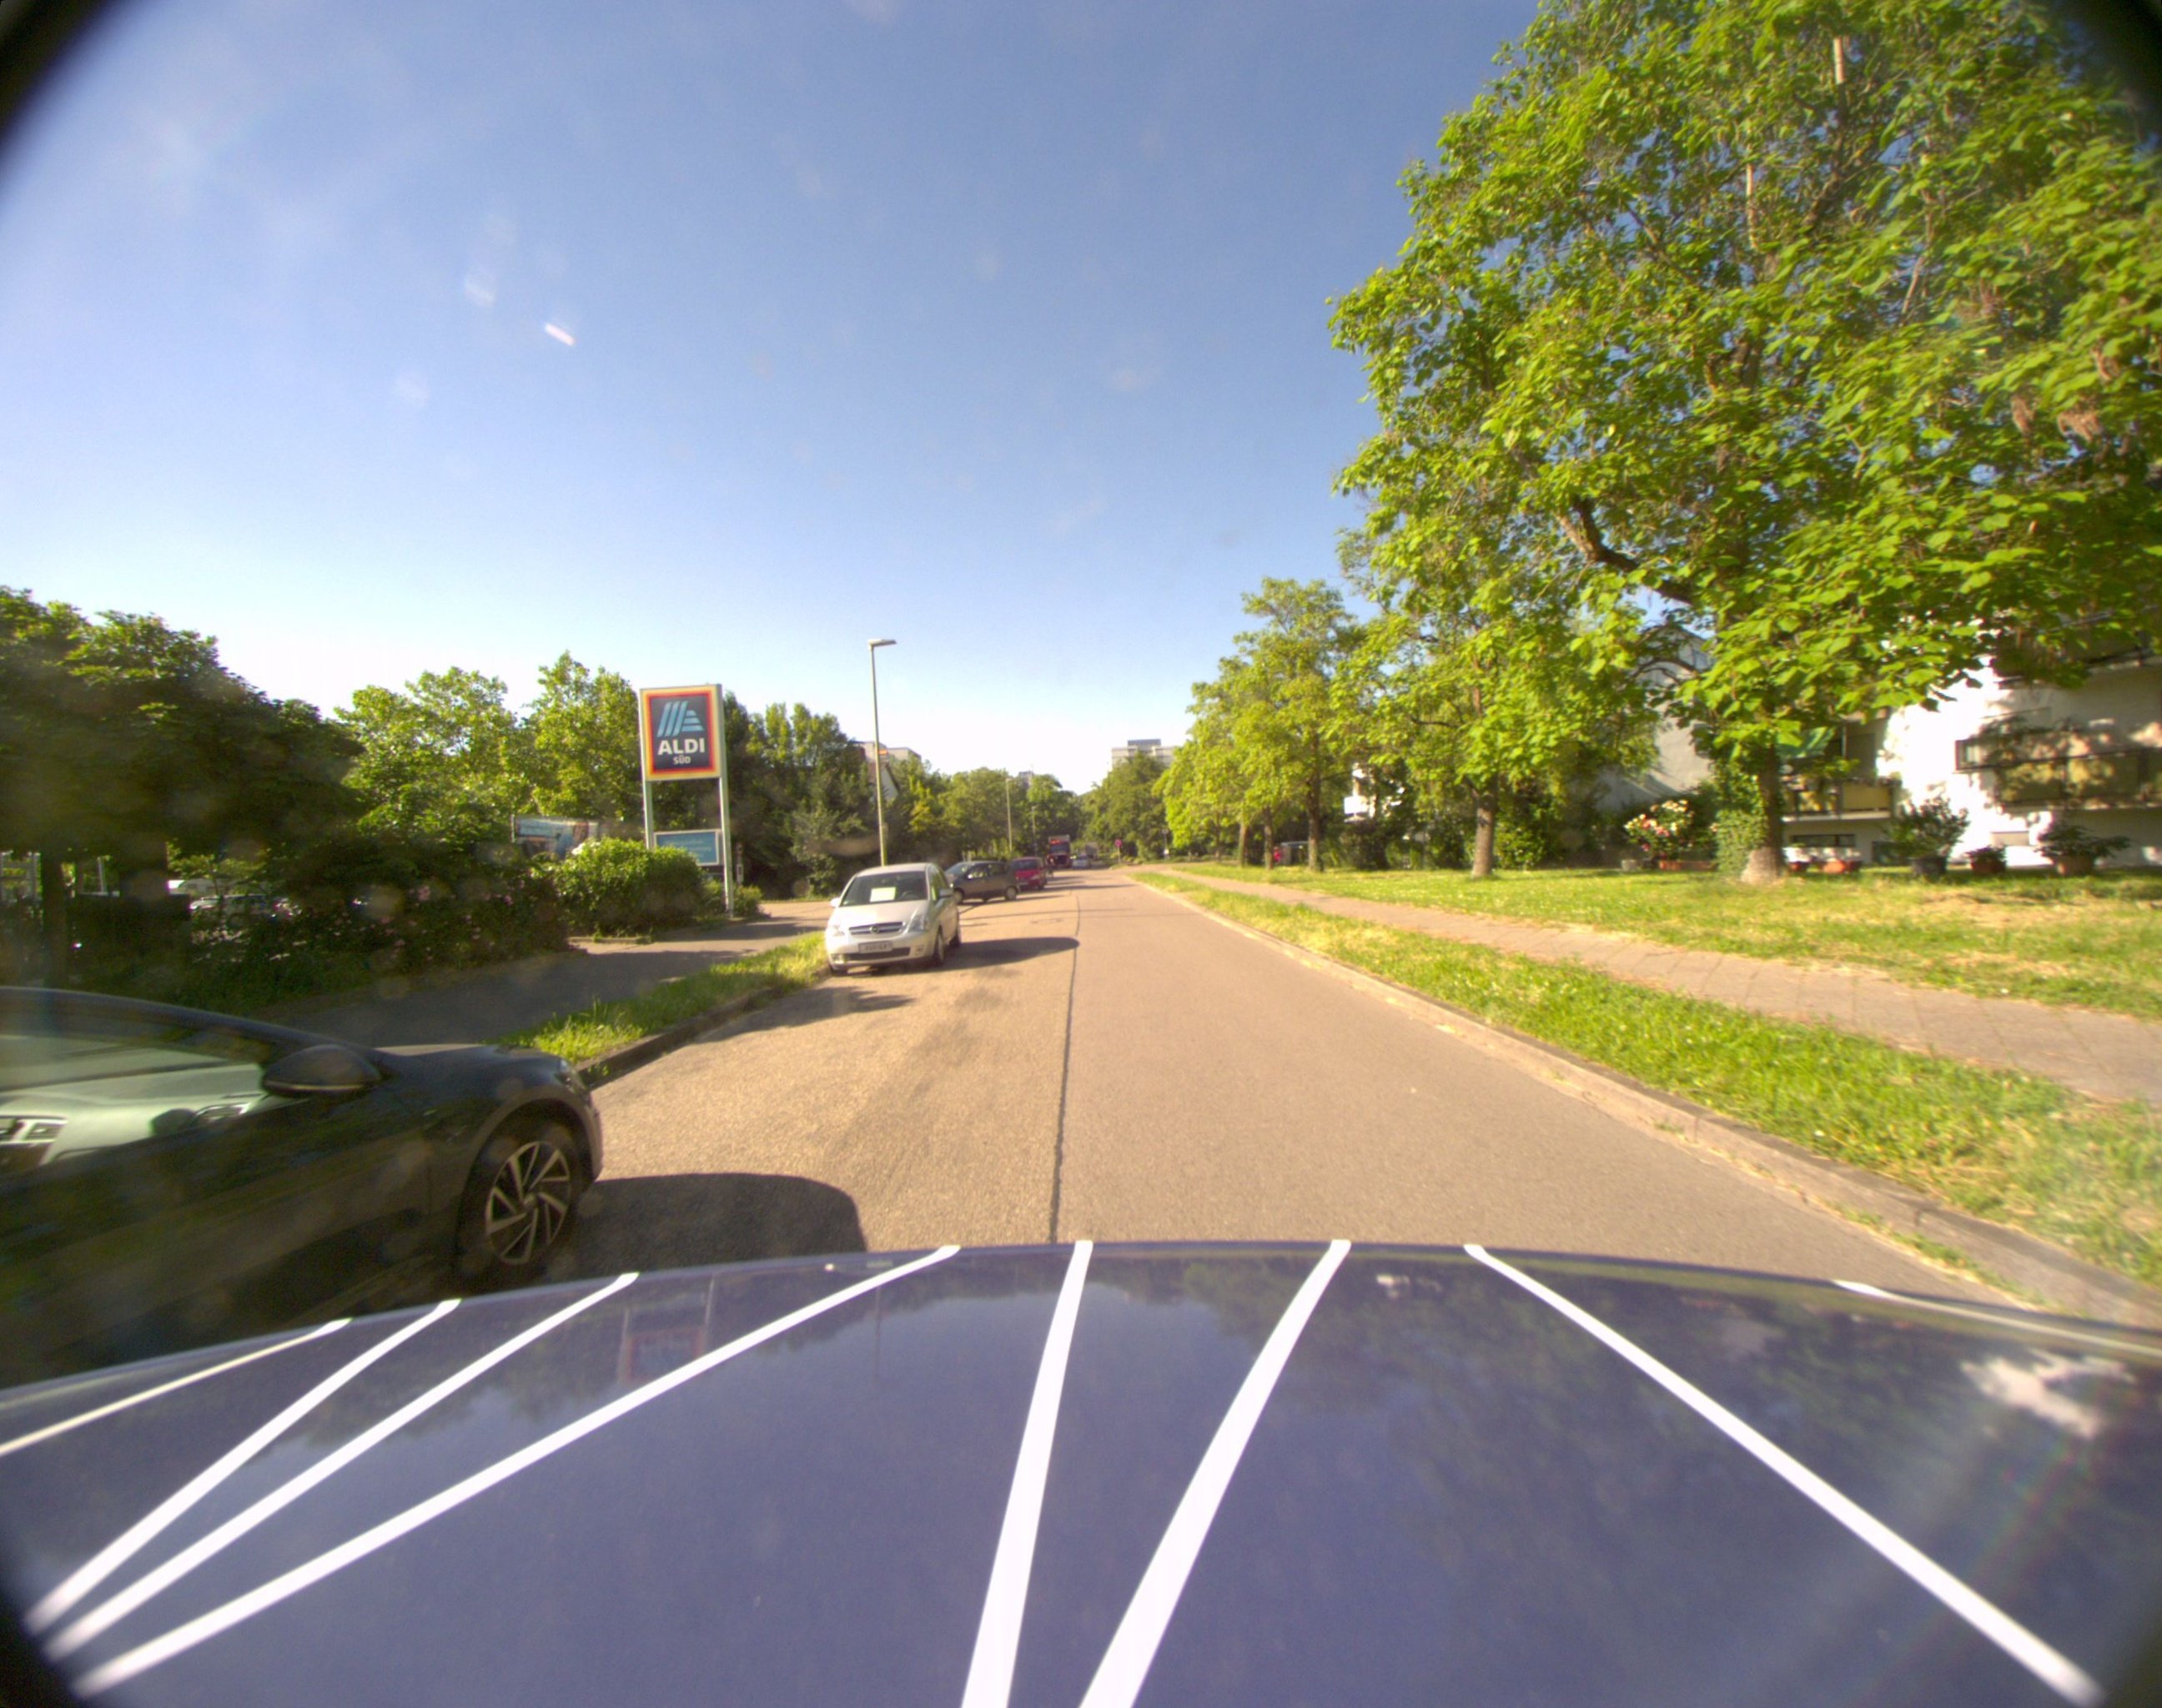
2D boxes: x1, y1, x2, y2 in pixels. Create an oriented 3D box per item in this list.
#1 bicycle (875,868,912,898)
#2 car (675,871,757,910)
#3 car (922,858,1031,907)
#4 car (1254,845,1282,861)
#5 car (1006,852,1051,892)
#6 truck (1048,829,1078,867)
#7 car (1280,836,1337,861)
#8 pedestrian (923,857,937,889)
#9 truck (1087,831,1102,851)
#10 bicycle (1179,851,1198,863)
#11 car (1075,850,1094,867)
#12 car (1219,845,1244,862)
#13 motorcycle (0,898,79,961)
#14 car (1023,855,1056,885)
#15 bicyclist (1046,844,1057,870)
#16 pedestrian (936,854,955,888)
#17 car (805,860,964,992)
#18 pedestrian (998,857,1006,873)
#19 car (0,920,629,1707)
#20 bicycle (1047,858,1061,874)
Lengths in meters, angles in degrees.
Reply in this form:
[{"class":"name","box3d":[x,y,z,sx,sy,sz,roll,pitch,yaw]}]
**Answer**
[{"class":"bicycle","box3d":[-8.361,1.294,33.920,0.721,1.214,1.898,-1,2,16]},{"class":"car","box3d":[-16.398,1.584,34.347,1.777,1.494,3.802,-3,0,0]},{"class":"car","box3d":[-4.016,1.055,29.484,1.851,1.635,3.763,-2,0,45]},{"class":"car","box3d":[18.700,-0.121,76.089,1.674,1.479,3.884,-3,2,-1]},{"class":"car","box3d":[-2.645,0.887,39.246,1.845,1.795,4.653,-3,1,1]},{"class":"truck","box3d":[-2.121,-0.808,94.767,3.166,4.320,10.582,-3,1,1]},{"class":"car","box3d":[20.009,-0.446,66.984,4.461,1.957,2.069,-2,0,3]},{"class":"pedestrian","box3d":[-7.886,0.968,39.617,0.574,1.600,0.792,-1,2,-3]},{"class":"truck","box3d":[2.832,-2.733,159.158,2.803,3.996,9.622,-1,2,0]},{"class":"bicycle","box3d":[11.463,0.363,81.043,1.902,1.146,0.760,-2,4,10]},{"class":"car","box3d":[0.434,0.506,86.134,1.844,1.795,4.029,-3,1,3]},{"class":"car","box3d":[15.377,-0.055,77.657,1.674,1.479,3.884,-3,2,-1]},{"class":"motorcycle","box3d":[-27.601,1.966,19.257,0.871,1.500,2.597,-3,0,1]},{"class":"car","box3d":[-2.474,0.957,46.262,1.729,1.647,4.352,-3,0,0]},{"class":"bicyclist","box3d":[-2.313,0.262,60.622,0.753,2.002,0.711,-3,1,-1]},{"class":"pedestrian","box3d":[-7.064,0.870,39.605,0.806,1.707,0.983,-1,2,-3]},{"class":"car","box3d":[-3.046,1.028,12.629,1.684,1.590,4.026,-4,2,-3]},{"class":"pedestrian","box3d":[-8.125,1.139,78.234,0.641,1.629,0.641,-3,1,3]},{"class":"car","box3d":[-3.089,1.083,1.378,1.812,1.435,4.363,-3,0,1]},{"class":"bicycle","box3d":[-2.176,0.964,60.388,0.863,1.164,3.029,-4,1,-6]}]
